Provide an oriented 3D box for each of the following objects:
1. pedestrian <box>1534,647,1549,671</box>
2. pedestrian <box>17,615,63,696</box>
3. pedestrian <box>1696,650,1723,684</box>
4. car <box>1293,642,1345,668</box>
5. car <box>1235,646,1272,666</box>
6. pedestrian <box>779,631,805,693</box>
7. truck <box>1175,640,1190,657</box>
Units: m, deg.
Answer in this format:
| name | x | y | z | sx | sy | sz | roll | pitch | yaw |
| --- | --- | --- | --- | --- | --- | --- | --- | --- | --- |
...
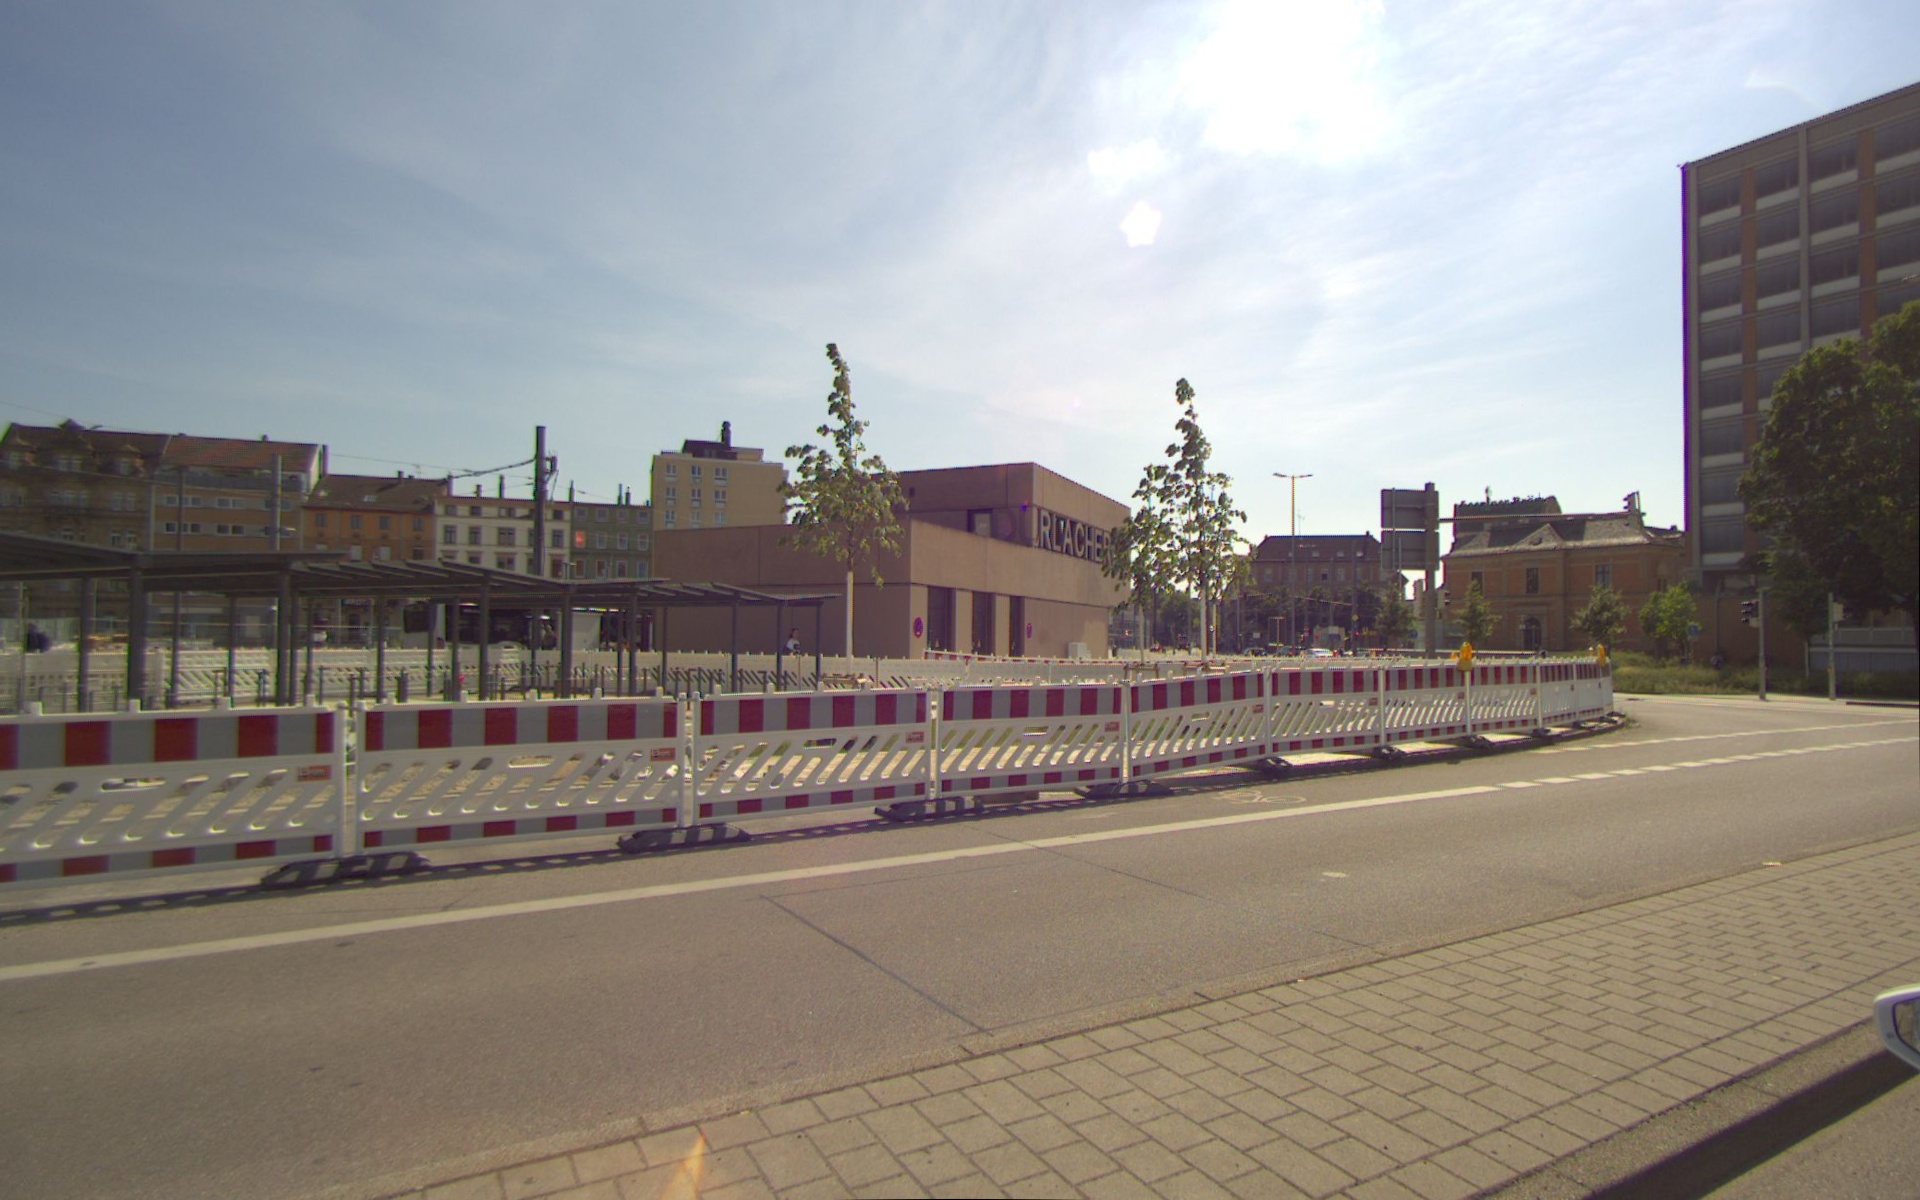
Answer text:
| name | x | y | z | sx | sy | sz | roll | pitch | yaw |
| --- | --- | --- | --- | --- | --- | --- | --- | --- | --- |
| pedestrian | 42.081 | 4.284 | 72.652 | 0.637 | 1.683 | 0.650 | 2 | 0 | -3 |
| pedestrian | -23.713 | 1.429 | 25.889 | 0.807 | 2.040 | 0.684 | -1 | -3 | 35 |
| pedestrian | 39.778 | 3.552 | 53.316 | 0.857 | 1.748 | 0.799 | 1 | -2 | -7 |
| car | 25.814 | 3.943 | 72.427 | 1.963 | 1.839 | 3.996 | 1 | -2 | -7 |
| car | 23.337 | 4.429 | 79.959 | 1.764 | 1.530 | 4.002 | 1 | -2 | 1 |
| pedestrian | -4.342 | 1.587 | 25.978 | 0.415 | 1.585 | 0.558 | -1 | -2 | 24 |
| truck | 51.027 | 11.201 | 230.828 | 3.011 | 3.779 | 7.937 | 0 | -2 | 10 |
